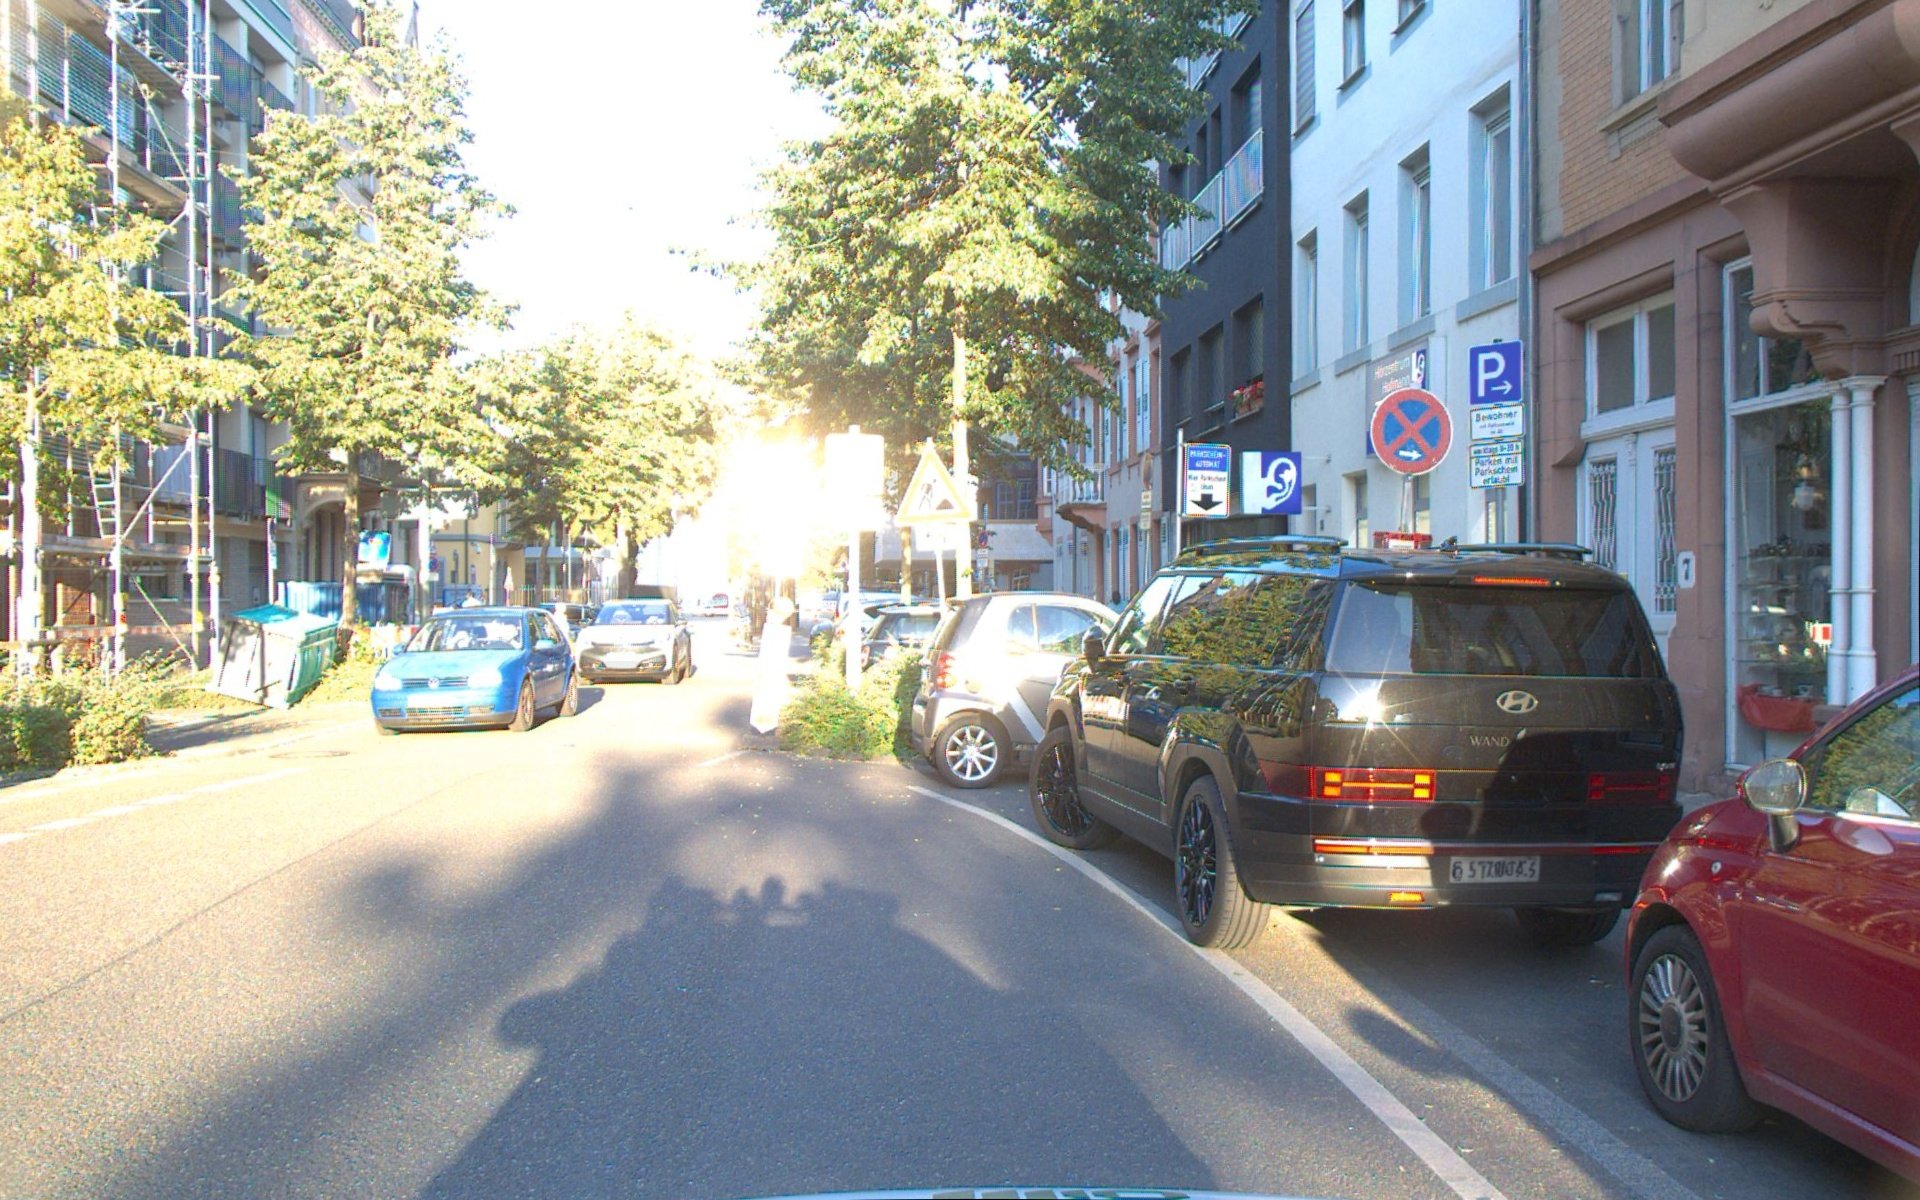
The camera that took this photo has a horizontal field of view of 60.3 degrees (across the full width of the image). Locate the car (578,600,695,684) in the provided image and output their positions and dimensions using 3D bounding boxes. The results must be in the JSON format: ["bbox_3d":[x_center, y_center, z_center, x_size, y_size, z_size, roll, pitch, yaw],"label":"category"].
[{"bbox_3d":[-6.235,0.782,32.311,1.848,1.506,4.452,1,0,-6],"label":"car"}]

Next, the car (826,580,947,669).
[{"bbox_3d":[-1.667,0.519,35.843,2.222,1.797,4.501,0,0,-8],"label":"car"}]

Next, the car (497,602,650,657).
[{"bbox_3d":[-11.199,0.854,48.147,4.021,1.491,1.888,1,-1,-3],"label":"car"}]

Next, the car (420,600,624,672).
[{"bbox_3d":[-9.635,0.788,36.655,4.021,1.491,1.888,1,-1,-3],"label":"car"}]

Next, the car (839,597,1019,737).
[{"bbox_3d":[-0.531,0.846,22.567,1.956,1.697,4.502,1,0,-7],"label":"car"}]

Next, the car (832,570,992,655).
[{"bbox_3d":[-1.188,0.295,41.519,3.905,2.049,2.000,0,0,-1],"label":"car"}]

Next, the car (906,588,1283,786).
[{"bbox_3d":[1.083,0.714,13.964,2.913,1.563,1.430,1,-1,-9],"label":"car"}]

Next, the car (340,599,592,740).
[{"bbox_3d":[-5.771,0.756,19.878,1.801,1.466,4.330,-1,0,-1],"label":"car"}]

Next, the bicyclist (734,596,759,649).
[{"bbox_3d":[-7.067,0.737,54.854,0.766,1.726,1.006,-1,0,-7],"label":"bicyclist"}]

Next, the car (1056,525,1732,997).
[{"bbox_3d":[1.774,0.616,8.347,1.790,1.725,4.361,1,-1,-7],"label":"car"}]

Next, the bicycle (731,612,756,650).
[{"bbox_3d":[-7.172,1.023,54.820,0.766,1.225,2.018,-1,0,-7],"label":"bicycle"}]

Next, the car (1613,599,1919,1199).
[{"bbox_3d":[2.927,0.765,3.659,1.555,1.509,3.264,1,-1,-3],"label":"car"}]
